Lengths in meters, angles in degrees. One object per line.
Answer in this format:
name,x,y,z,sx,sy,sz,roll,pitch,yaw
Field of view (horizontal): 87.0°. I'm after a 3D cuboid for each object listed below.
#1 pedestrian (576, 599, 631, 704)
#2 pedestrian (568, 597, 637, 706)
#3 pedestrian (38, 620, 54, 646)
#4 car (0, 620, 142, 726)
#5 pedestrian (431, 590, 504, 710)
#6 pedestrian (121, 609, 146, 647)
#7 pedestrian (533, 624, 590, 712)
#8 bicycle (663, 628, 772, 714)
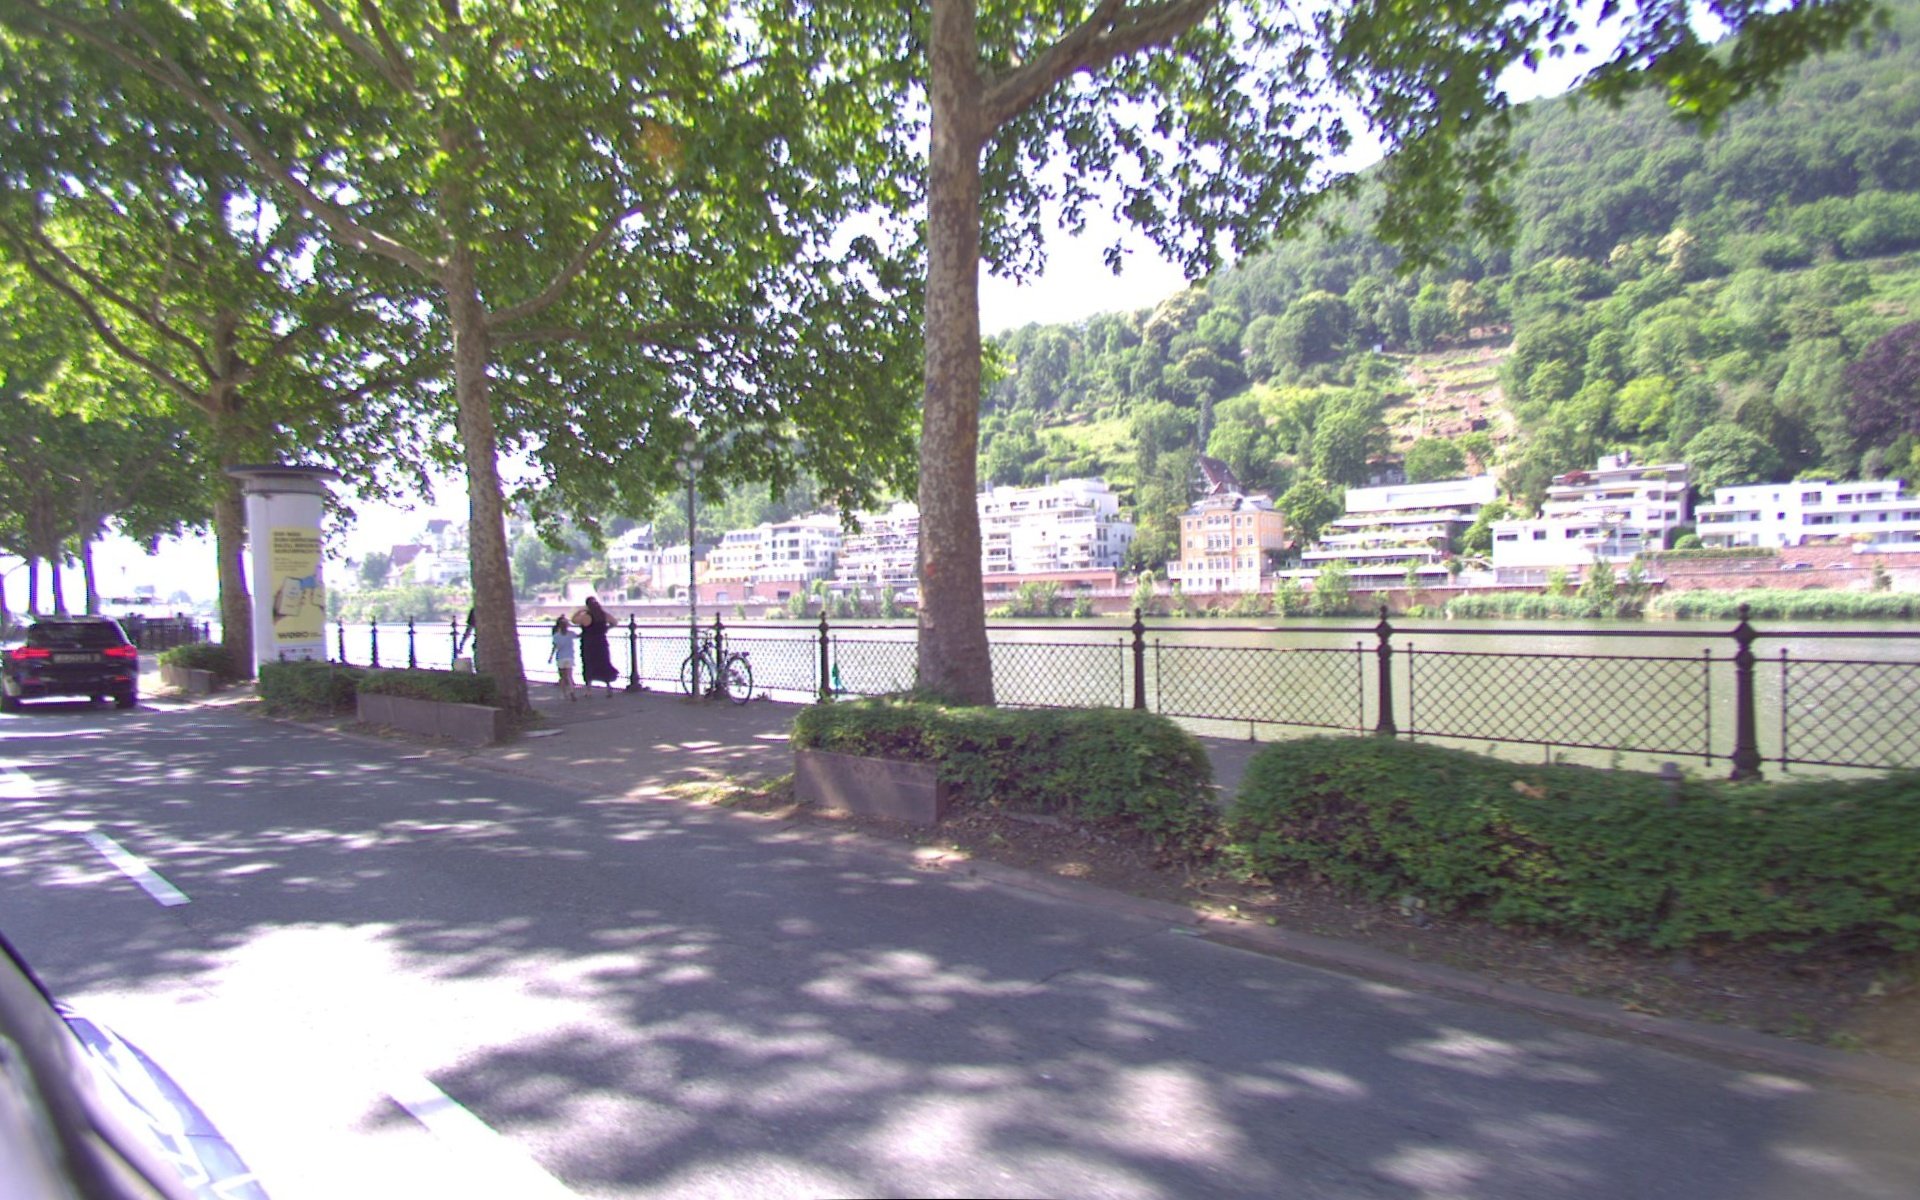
pedestrian,-5.742,0.813,16.306,0.552,1.640,0.625,-1,0,41
pedestrian,-5.808,0.813,16.453,0.709,1.696,0.783,-1,0,41
pedestrian,-60.959,2.215,67.480,0.730,1.719,0.750,-2,-1,43
car,-16.591,1.254,18.505,4.744,1.684,1.850,-2,-2,42
pedestrian,-7.465,0.737,15.338,0.729,1.743,0.750,-1,0,41
pedestrian,-39.020,1.311,47.777,0.729,1.719,0.750,-1,0,41
pedestrian,-6.262,1.050,15.896,0.552,1.330,0.625,-1,0,41
bicycle,-3.592,1.012,14.930,1.843,1.161,0.557,-1,2,41
